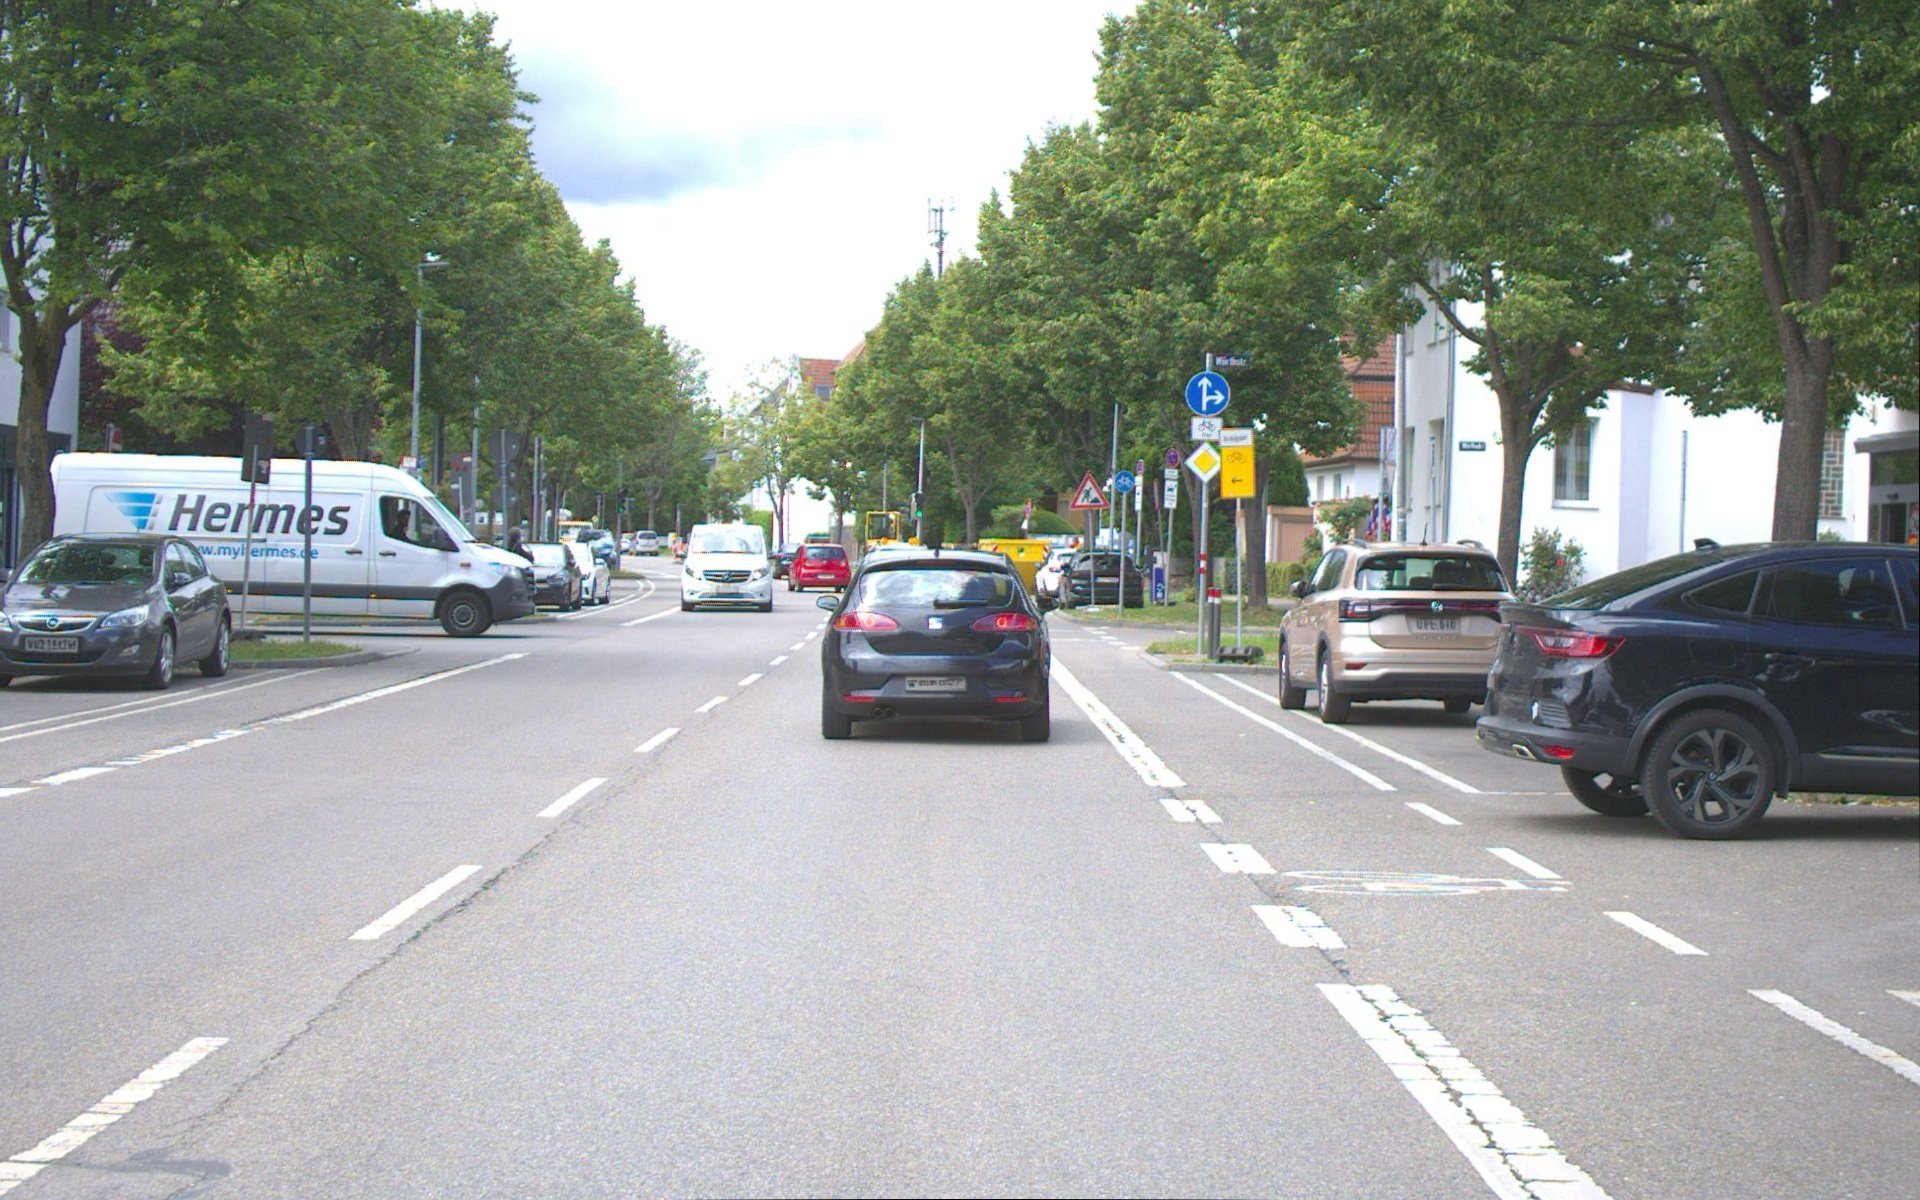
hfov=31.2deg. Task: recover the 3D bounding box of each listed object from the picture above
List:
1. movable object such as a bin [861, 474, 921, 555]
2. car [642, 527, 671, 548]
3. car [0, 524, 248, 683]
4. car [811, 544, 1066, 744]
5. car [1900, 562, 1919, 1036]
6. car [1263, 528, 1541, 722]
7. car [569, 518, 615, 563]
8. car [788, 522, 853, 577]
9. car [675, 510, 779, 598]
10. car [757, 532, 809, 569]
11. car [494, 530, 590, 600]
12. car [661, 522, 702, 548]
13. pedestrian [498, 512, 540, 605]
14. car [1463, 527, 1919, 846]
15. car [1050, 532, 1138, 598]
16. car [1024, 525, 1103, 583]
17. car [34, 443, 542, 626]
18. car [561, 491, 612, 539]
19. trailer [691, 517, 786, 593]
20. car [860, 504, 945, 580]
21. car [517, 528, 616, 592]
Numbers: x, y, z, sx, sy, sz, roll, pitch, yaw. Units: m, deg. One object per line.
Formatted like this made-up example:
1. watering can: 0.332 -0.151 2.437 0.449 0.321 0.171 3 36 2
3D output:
1. movable object such as a bin: -2.262 -2.774 111.734 1.768 2.565 3.740 1 1 -3
2. car: -20.693 -4.265 234.299 1.809 1.410 3.694 1 1 -6
3. car: -8.367 -0.015 34.042 1.731 1.464 4.301 0 1 0
4. car: -0.237 0.292 27.005 1.818 1.433 3.740 0 1 -3
5. car: 3.986 0.680 8.513 1.805 1.470 4.813 1 1 -2
6. car: 3.839 0.165 30.471 1.721 1.575 4.062 1 1 -3
7. car: -14.846 -2.401 138.447 1.667 1.766 4.469 0 1 -8
8. car: -4.205 -1.531 103.127 1.790 1.617 3.740 0 1 -4
9. car: -4.991 -1.015 74.317 1.966 1.824 4.819 1 1 -1
10. car: -6.863 -1.913 133.098 1.809 1.370 3.694 1 1 -6
11. car: -8.701 -0.749 71.773 1.643 1.415 4.021 0 1 -2
12. car: -15.618 -3.643 192.898 1.809 1.410 3.694 1 1 -12
13. pedestrian: -8.156 -0.767 63.558 0.542 1.675 0.750 3 2 8
14. car: 5.016 0.423 18.707 4.216 1.632 1.694 0 1 -6
15. car: 3.071 -0.833 79.590 1.705 1.449 4.617 0 1 -2
16. car: 2.674 -1.203 89.473 1.672 1.457 4.001 1 1 -3
17. car: -10.049 -0.990 51.933 7.288 2.585 2.221 1 1 -4
18. car: -17.420 -3.959 160.325 2.092 2.167 5.046 1 1 -9
19. trailer: -5.058 -1.050 79.068 1.938 1.671 4.689 1 1 -1
20. car: -1.312 -1.345 78.892 1.905 1.680 3.740 0 1 -1
21. car: -8.974 -0.938 78.734 1.714 1.401 4.300 1 1 1
